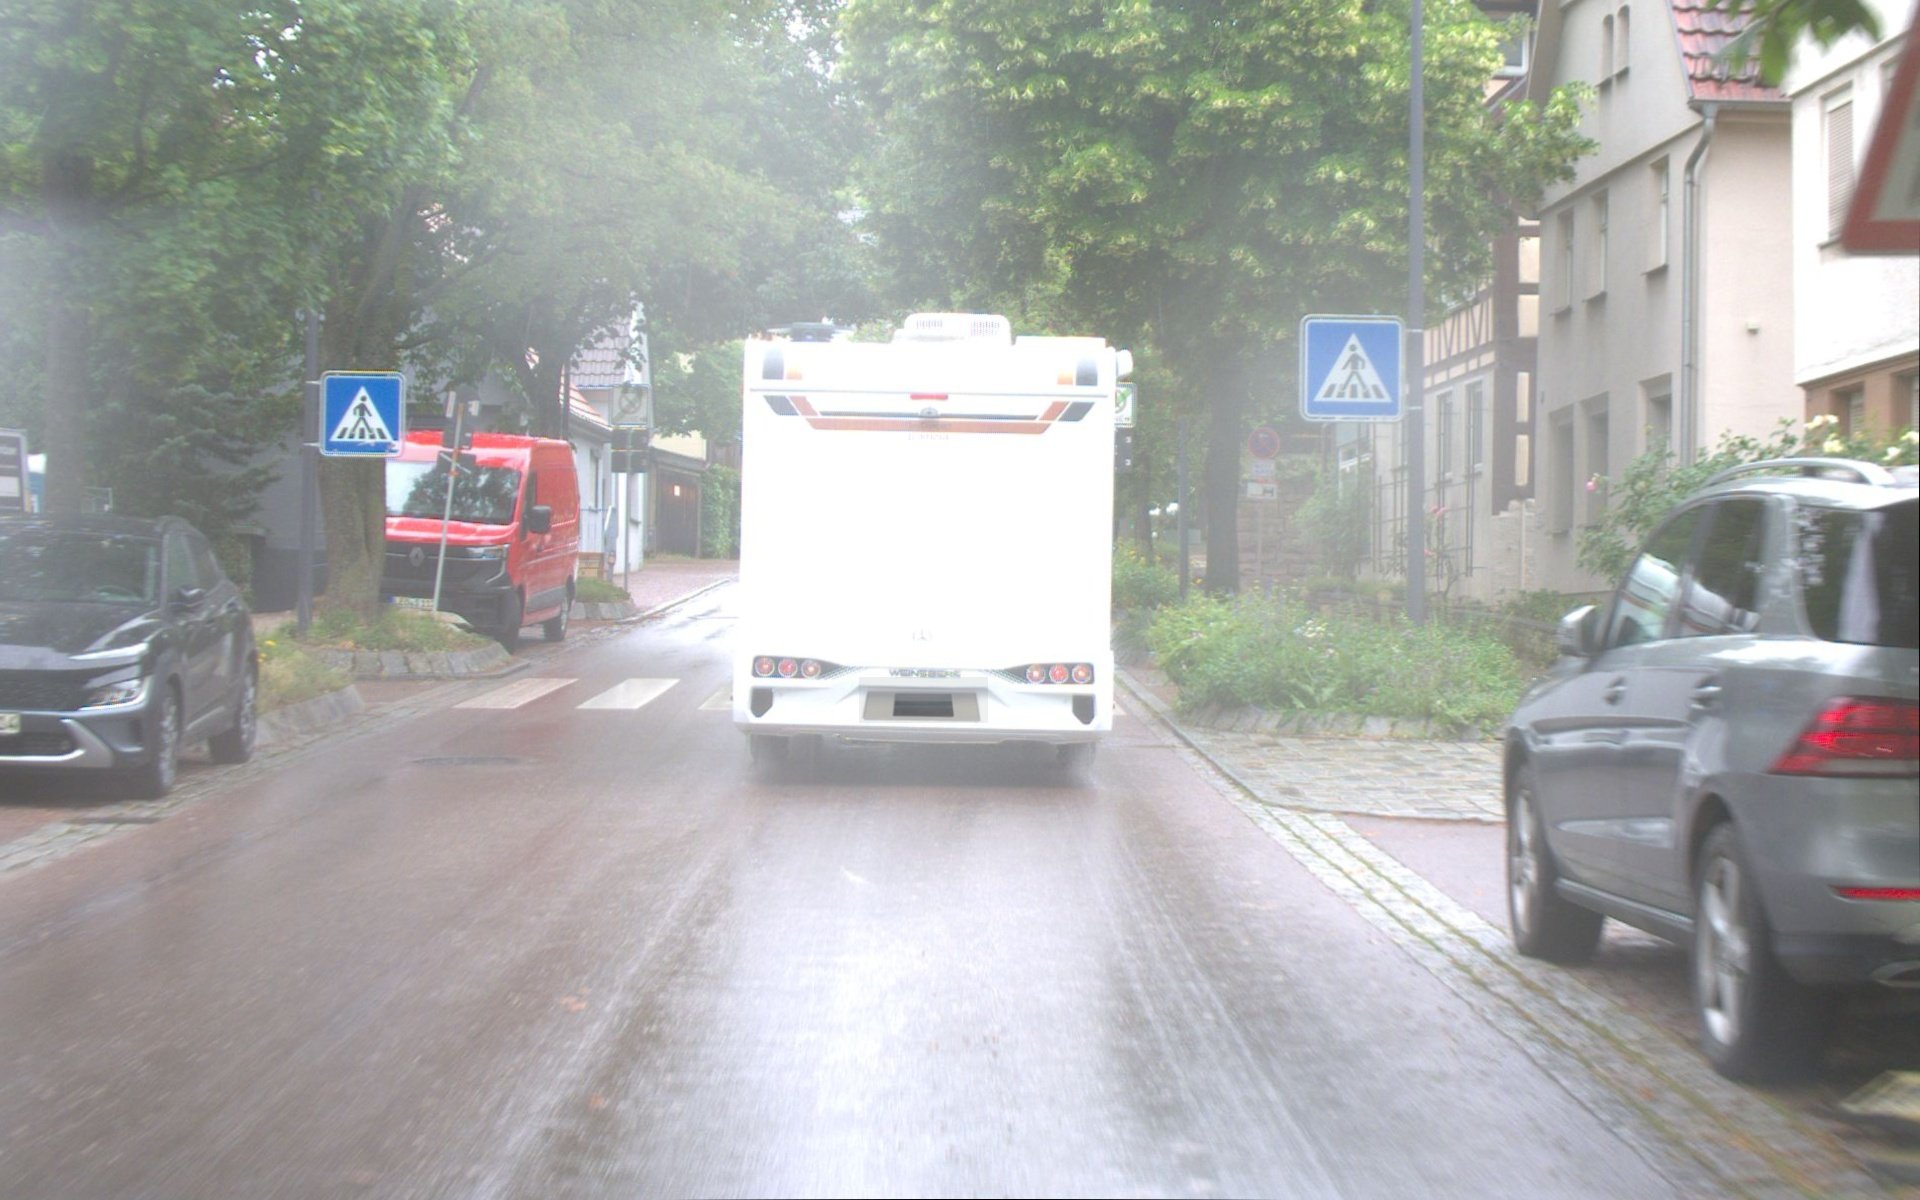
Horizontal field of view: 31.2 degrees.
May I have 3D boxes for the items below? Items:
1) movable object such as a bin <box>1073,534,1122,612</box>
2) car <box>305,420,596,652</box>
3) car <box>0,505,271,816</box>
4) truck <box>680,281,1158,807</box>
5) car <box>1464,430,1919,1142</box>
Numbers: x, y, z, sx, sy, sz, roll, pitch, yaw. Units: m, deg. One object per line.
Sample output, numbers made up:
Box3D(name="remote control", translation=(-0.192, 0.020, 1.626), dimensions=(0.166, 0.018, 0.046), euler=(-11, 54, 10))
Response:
Box3D(name="movable object such as a bin", translation=(2.178, -0.428, 54.374), dimensions=(0.721, 1.208, 0.727), euler=(1, 1, 0))
Box3D(name="car", translation=(-5.843, -0.794, 40.226), dimensions=(2.303, 2.474, 5.785), euler=(1, 2, 2))
Box3D(name="car", translation=(-5.299, 0.259, 19.961), dimensions=(1.771, 1.548, 4.000), euler=(3, 1, -1))
Box3D(name="truck", translation=(-0.266, -0.360, 22.952), dimensions=(2.694, 2.975, 6.237), euler=(1, 1, -1))
Box3D(name="car", translation=(2.962, 0.444, 10.914), dimensions=(1.914, 1.786, 4.489), euler=(1, 1, -2))
